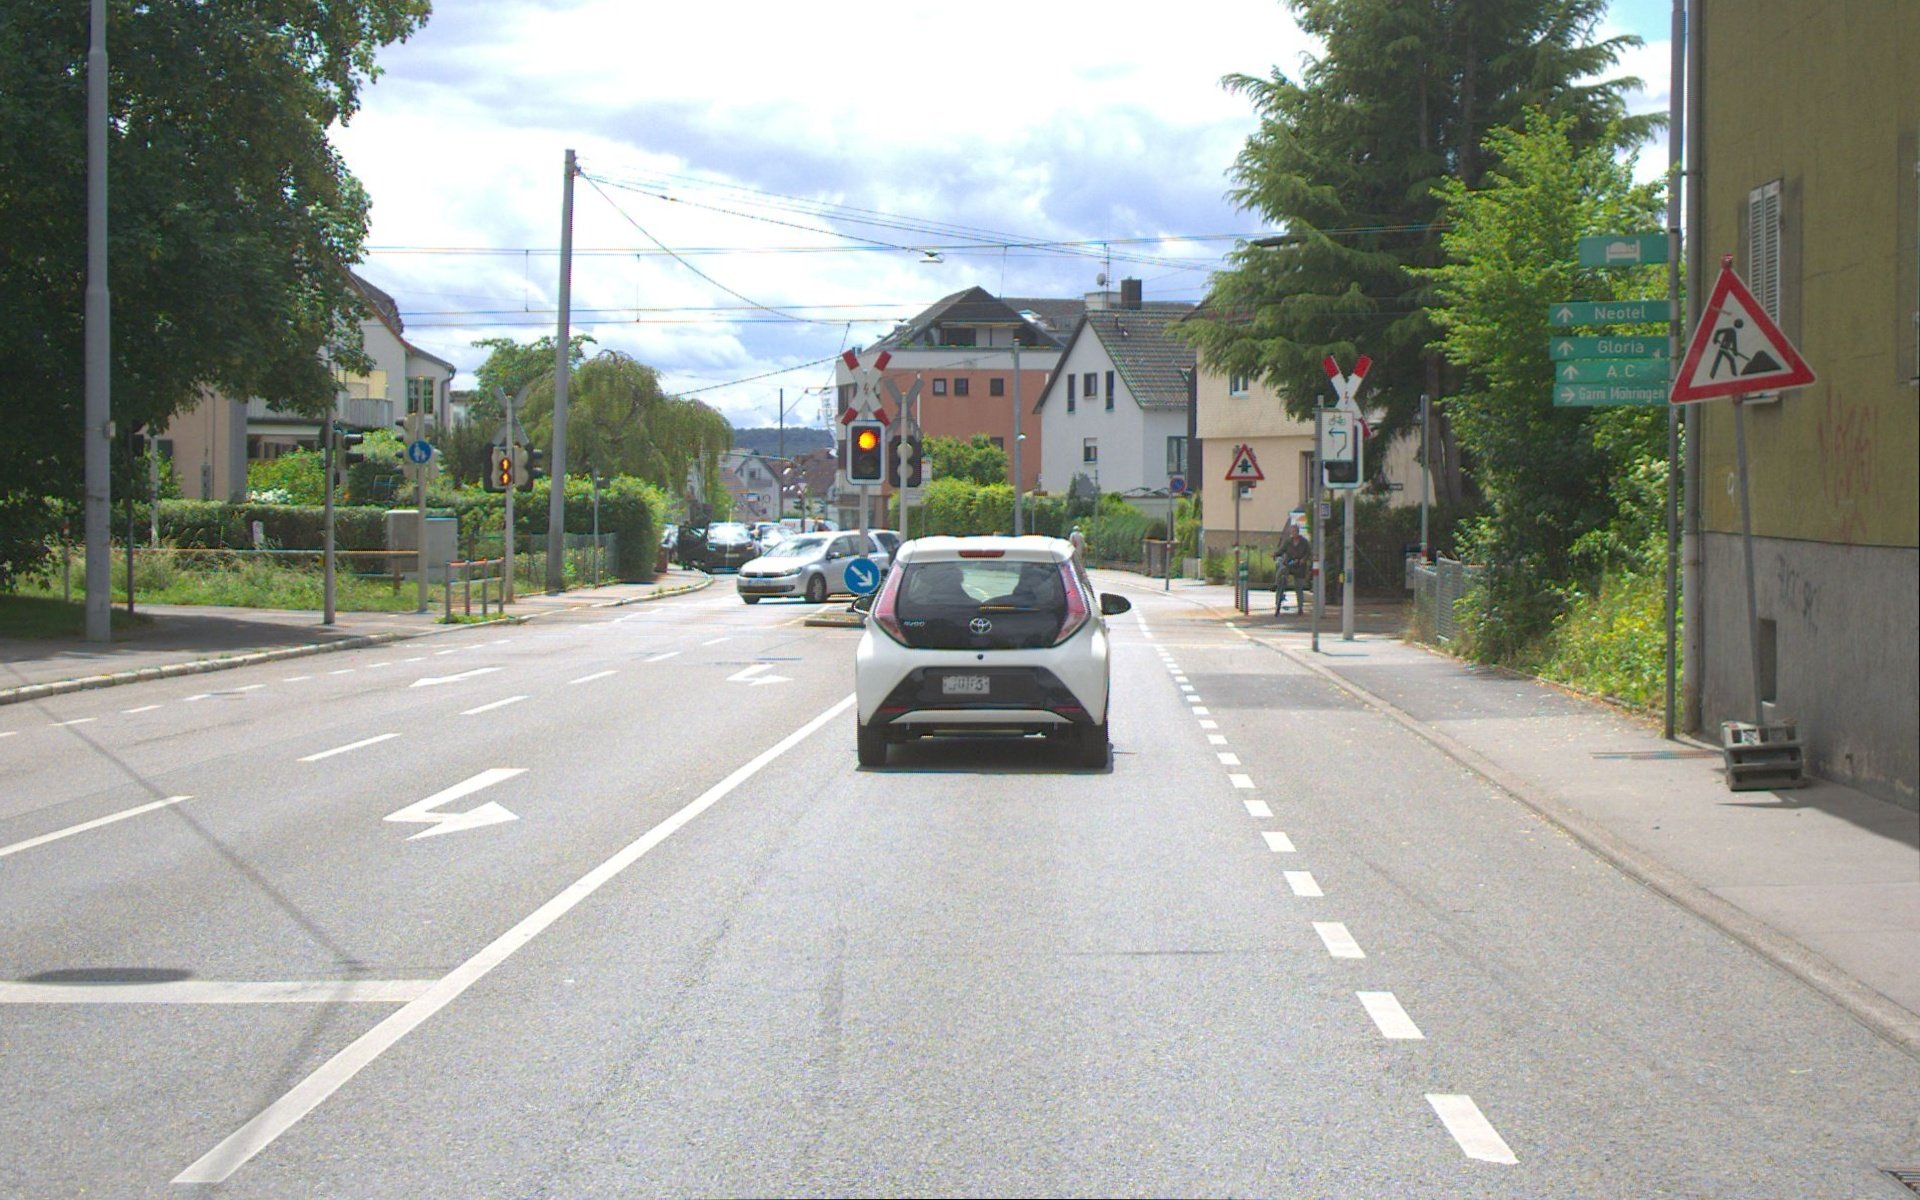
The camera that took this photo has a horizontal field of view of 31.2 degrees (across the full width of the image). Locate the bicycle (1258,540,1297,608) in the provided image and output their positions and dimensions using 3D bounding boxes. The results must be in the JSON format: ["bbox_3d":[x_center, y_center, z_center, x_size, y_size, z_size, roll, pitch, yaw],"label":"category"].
[{"bbox_3d":[5.855,-0.483,63.448,0.457,1.168,1.480,-3,4,-3],"label":"bicycle"}]

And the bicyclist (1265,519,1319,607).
[{"bbox_3d":[6.120,-0.688,63.357,0.840,1.548,0.756,-3,3,-3],"label":"bicyclist"}]

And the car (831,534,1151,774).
[{"bbox_3d":[0.288,0.302,23.064,1.721,1.437,3.707,1,1,7],"label":"car"}]

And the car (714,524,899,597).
[{"bbox_3d":[-3.188,-0.820,72.064,1.908,1.436,4.091,2,1,31],"label":"car"}]

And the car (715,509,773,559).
[{"bbox_3d":[-7.753,-2.362,123.239,1.993,1.713,4.001,1,1,-4],"label":"car"}]
